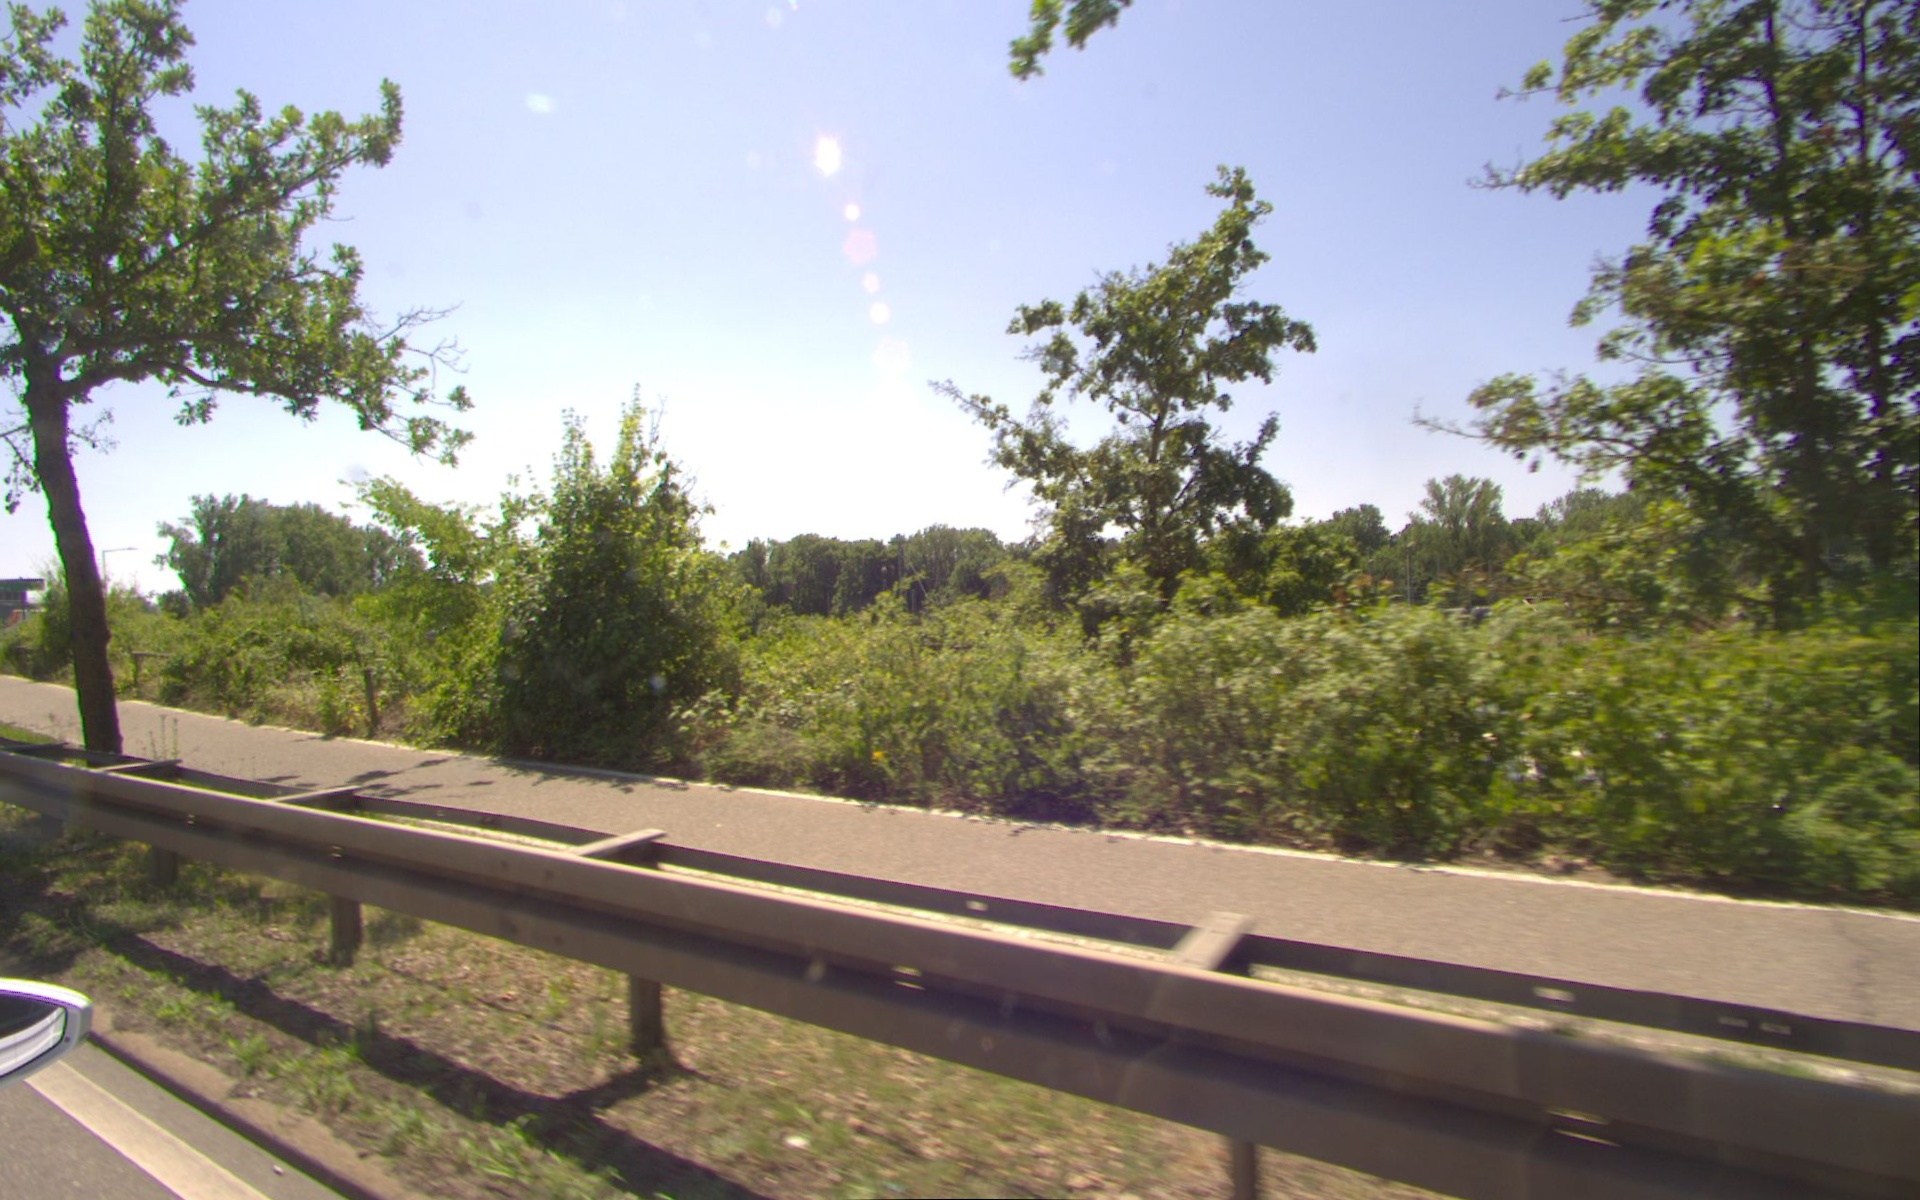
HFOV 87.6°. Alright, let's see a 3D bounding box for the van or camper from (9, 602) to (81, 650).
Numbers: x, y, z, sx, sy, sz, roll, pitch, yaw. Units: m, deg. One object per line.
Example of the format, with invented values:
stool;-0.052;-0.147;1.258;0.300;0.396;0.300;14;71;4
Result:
van or camper;-55.777;1.561;61.167;2.180;2.746;5.891;0;-1;-32
